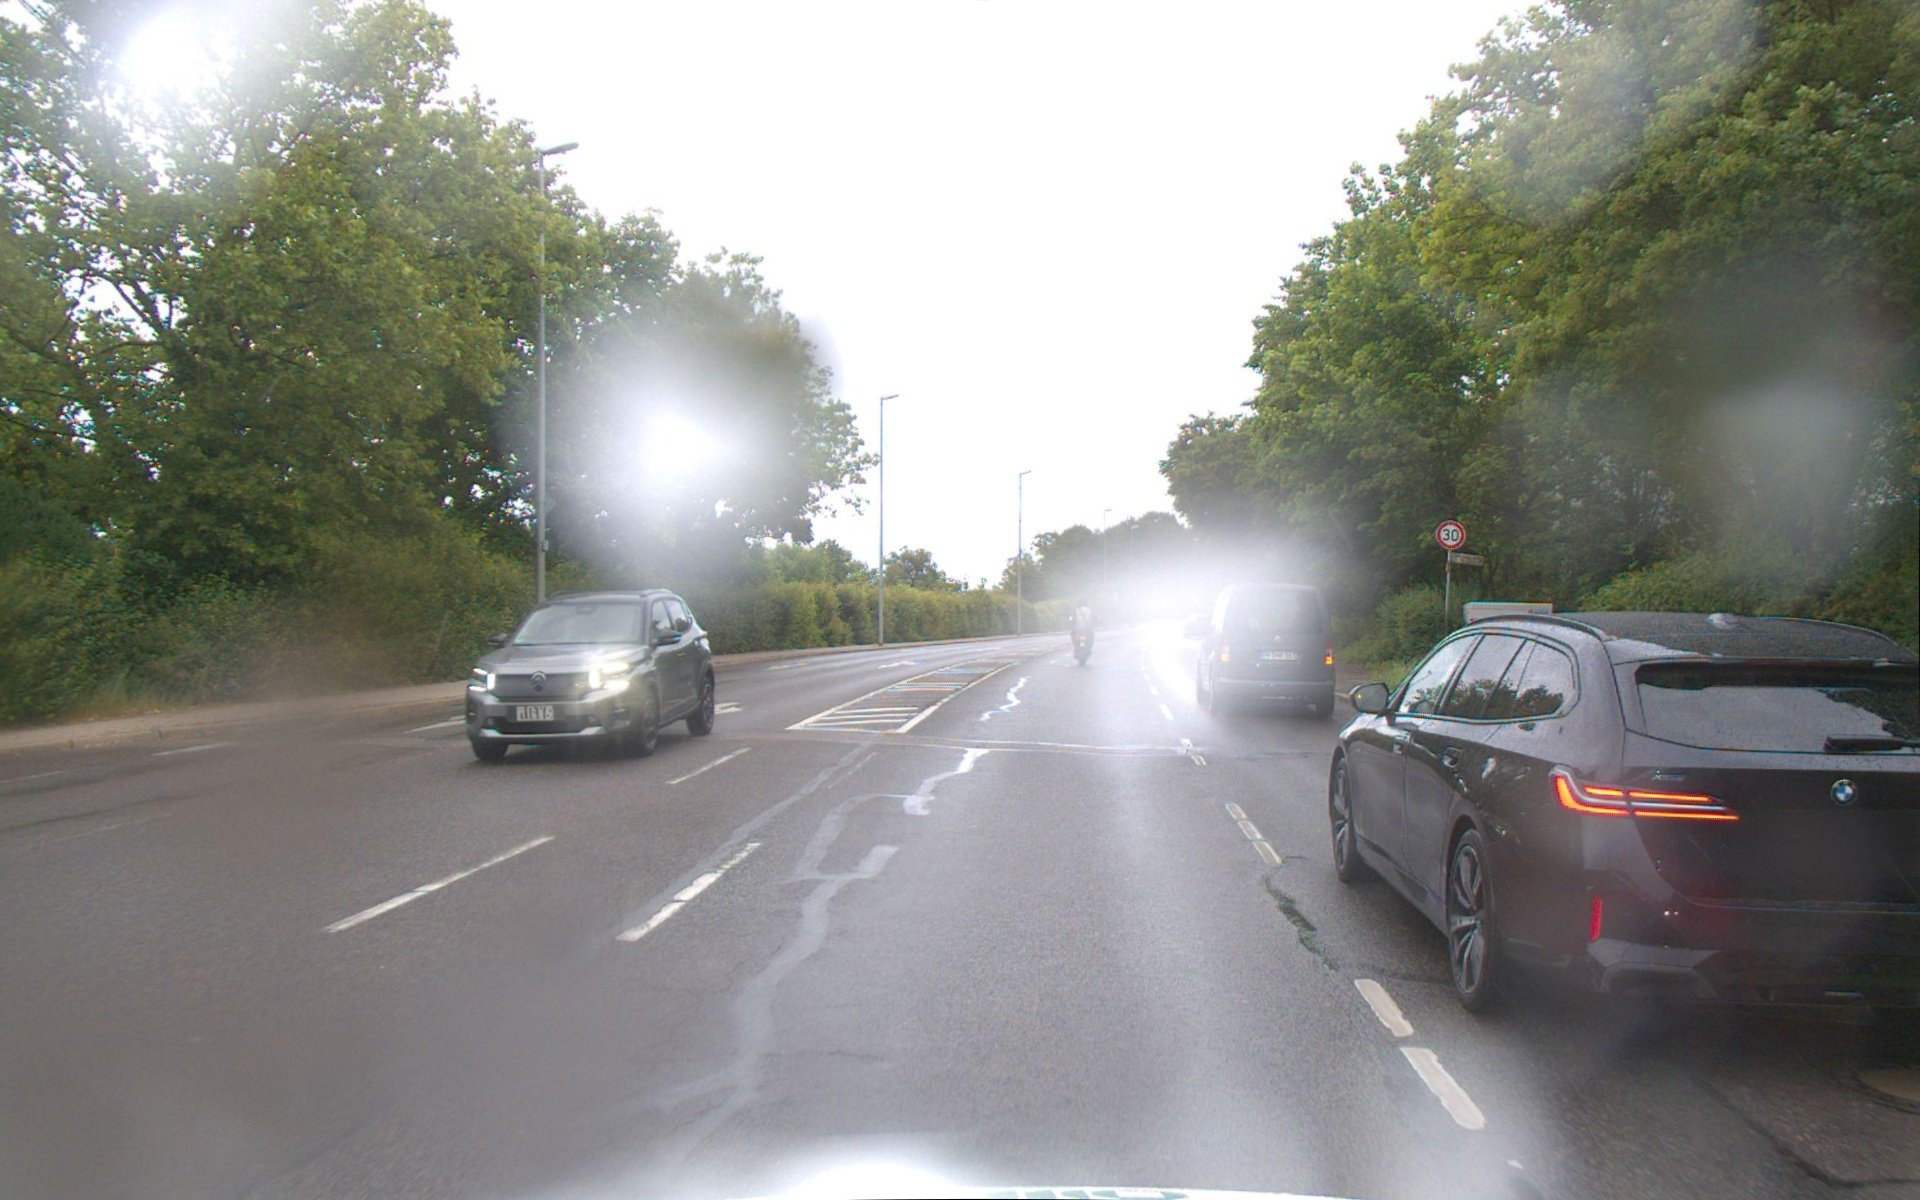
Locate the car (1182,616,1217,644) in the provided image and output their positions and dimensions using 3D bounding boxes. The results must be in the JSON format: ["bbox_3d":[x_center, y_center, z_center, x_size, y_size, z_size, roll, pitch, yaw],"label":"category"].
[{"bbox_3d":[14.240,1.757,98.276,1.972,1.440,4.490,1,1,9],"label":"car"}]

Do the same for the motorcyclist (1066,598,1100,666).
[{"bbox_3d":[3.080,0.795,41.379,0.827,1.676,0.468,0,1,5],"label":"motorcyclist"}]

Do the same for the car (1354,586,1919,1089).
[{"bbox_3d":[2.841,0.757,7.062,1.727,1.563,3.675,1,0,5],"label":"car"}]

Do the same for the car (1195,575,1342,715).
[{"bbox_3d":[4.448,0.579,24.334,1.729,1.841,3.908,1,1,5],"label":"car"}]

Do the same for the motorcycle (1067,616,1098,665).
[{"bbox_3d":[3.064,1.002,41.405,0.725,1.139,1.427,1,1,5],"label":"motorcycle"}]

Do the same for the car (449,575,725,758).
[{"bbox_3d":[-3.663,0.602,16.921,1.757,1.631,3.733,-1,0,3],"label":"car"}]
